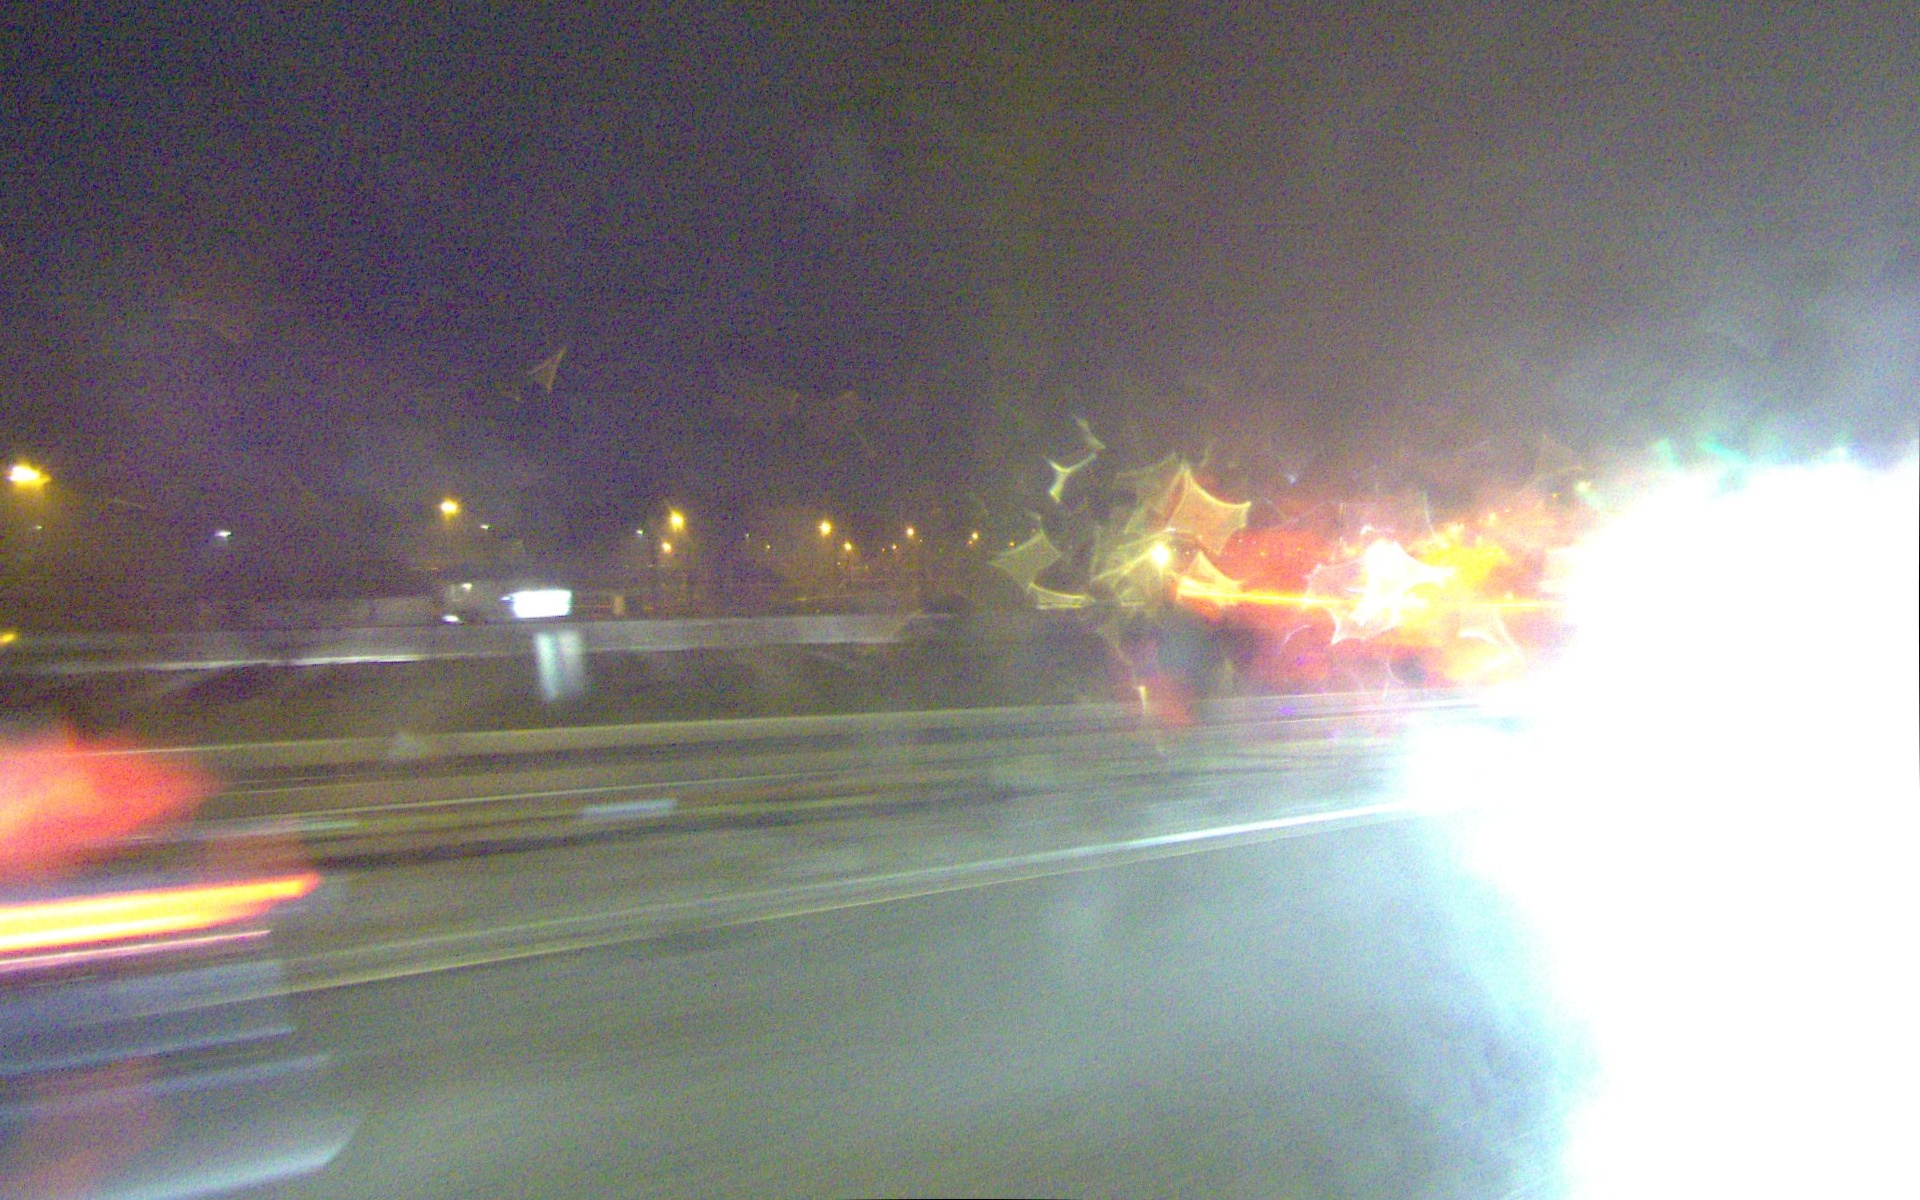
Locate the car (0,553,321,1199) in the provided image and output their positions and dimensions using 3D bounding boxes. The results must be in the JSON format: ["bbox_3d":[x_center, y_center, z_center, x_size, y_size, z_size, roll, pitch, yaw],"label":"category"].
[{"bbox_3d":[-3.328,0.639,1.398,3.998,1.498,1.610,1,0,-30],"label":"car"}]

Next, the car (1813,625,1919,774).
[{"bbox_3d":[11.368,1.050,11.204,4.284,1.450,1.748,1,1,-35],"label":"car"}]
